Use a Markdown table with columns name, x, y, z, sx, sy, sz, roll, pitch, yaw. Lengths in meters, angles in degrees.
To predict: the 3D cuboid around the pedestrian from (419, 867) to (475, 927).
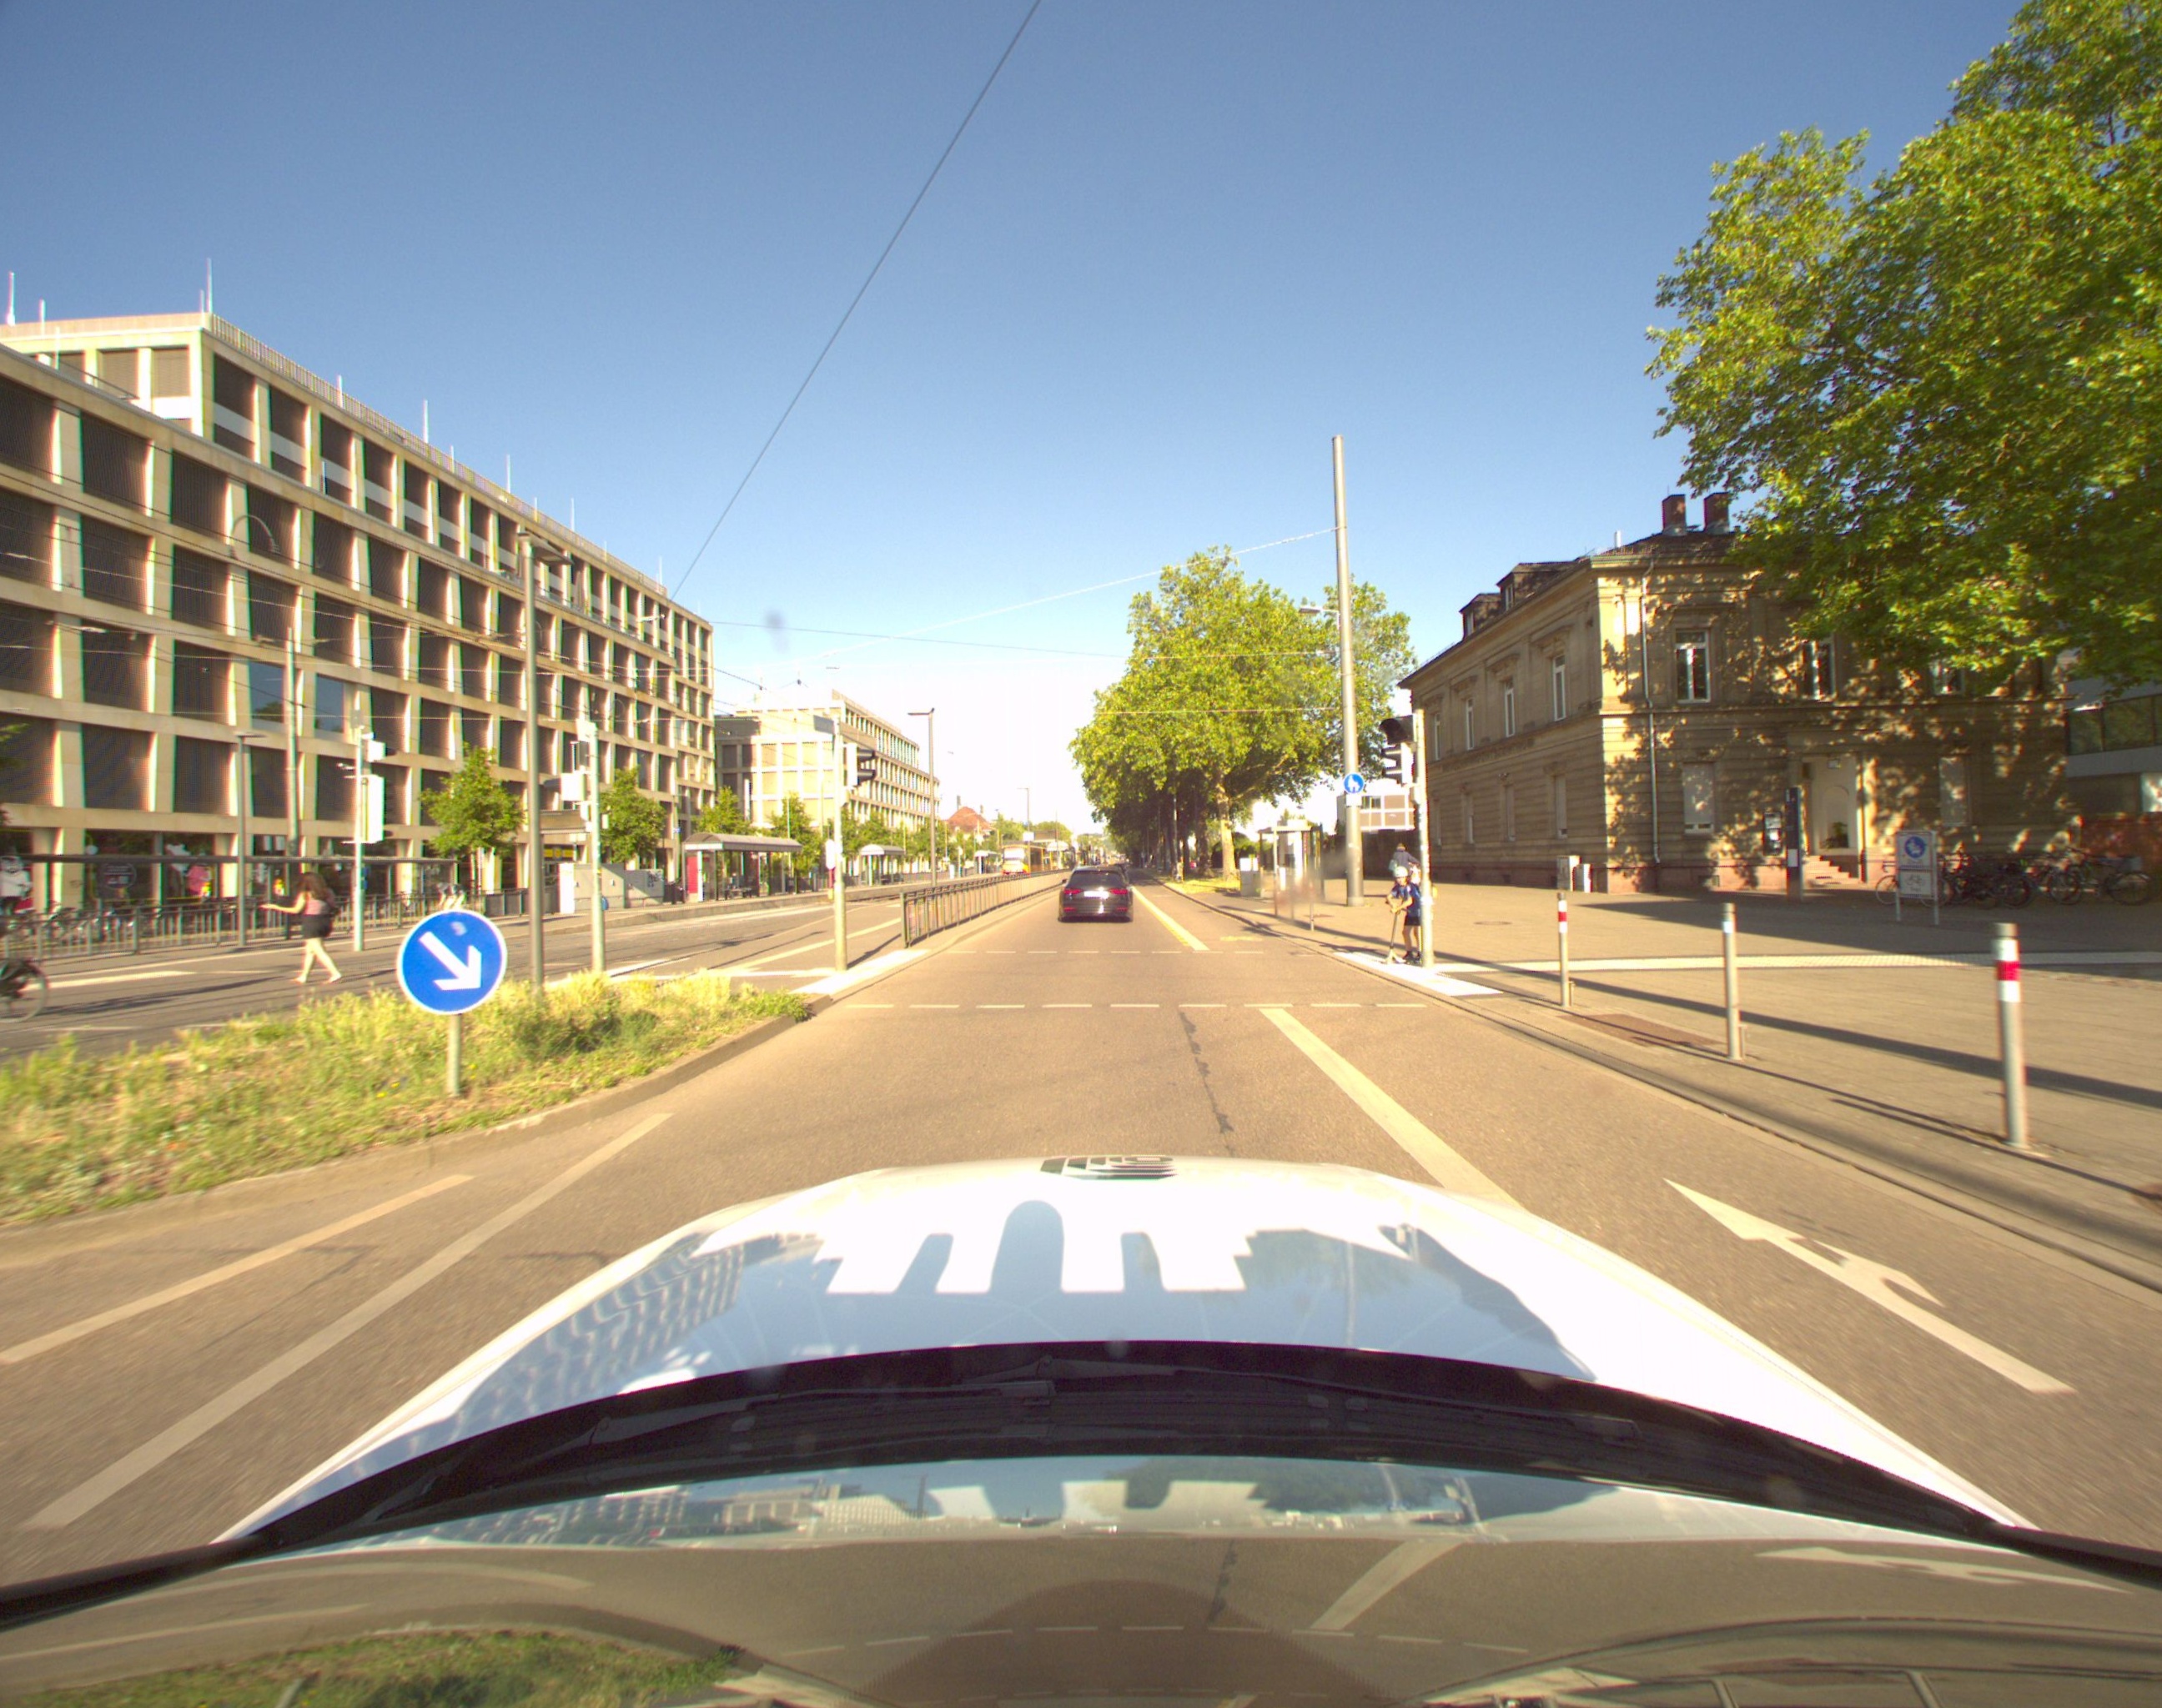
| name | x | y | z | sx | sy | sz | roll | pitch | yaw |
| --- | --- | --- | --- | --- | --- | --- | --- | --- | --- |
| pedestrian | -17.830 | 1.196 | 22.931 | 0.790 | 1.644 | 0.934 | -2 | -1 | 4 |

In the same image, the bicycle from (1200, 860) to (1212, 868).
| name | x | y | z | sx | sy | sz | roll | pitch | yaw |
| --- | --- | --- | --- | --- | --- | --- | --- | --- | --- |
| bicycle | 19.360 | 1.519 | 126.598 | 1.766 | 1.120 | 0.439 | -3 | -1 | 2 |

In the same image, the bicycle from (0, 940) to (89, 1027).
| name | x | y | z | sx | sy | sz | roll | pitch | yaw |
| --- | --- | --- | --- | --- | --- | --- | --- | --- | --- |
| bicycle | -12.637 | 1.492 | 9.215 | 1.883 | 0.911 | 0.512 | -2 | -1 | -11 |

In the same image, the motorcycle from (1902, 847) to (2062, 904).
| name | x | y | z | sx | sy | sz | roll | pitch | yaw |
| --- | --- | --- | --- | --- | --- | --- | --- | --- | --- |
| motorcycle | 19.187 | 0.461 | 17.398 | 2.206 | 1.159 | 0.889 | -1 | -1 | 9 |

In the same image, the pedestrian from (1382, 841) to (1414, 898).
| name | x | y | z | sx | sy | sz | roll | pitch | yaw |
| --- | --- | --- | --- | --- | --- | --- | --- | --- | --- |
| pedestrian | 9.991 | 0.483 | 25.652 | 0.762 | 1.744 | 0.801 | -4 | -1 | 27 |

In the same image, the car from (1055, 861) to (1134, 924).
| name | x | y | z | sx | sy | sz | roll | pitch | yaw |
| --- | --- | --- | --- | --- | --- | --- | --- | --- | --- |
| car | 0.355 | 0.947 | 21.357 | 1.872 | 1.457 | 3.357 | -2 | -1 | 1 |

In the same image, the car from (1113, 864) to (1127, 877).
| name | x | y | z | sx | sy | sz | roll | pitch | yaw |
| --- | --- | --- | --- | --- | --- | --- | --- | --- | --- |
| car | 5.069 | 2.135 | 106.409 | 1.756 | 1.619 | 4.000 | -2 | -1 | 1 |

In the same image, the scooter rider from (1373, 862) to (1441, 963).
| name | x | y | z | sx | sy | sz | roll | pitch | yaw |
| --- | --- | --- | --- | --- | --- | --- | --- | --- | --- |
| scooter rider | 4.647 | 0.819 | 11.642 | 0.698 | 1.397 | 0.600 | -2 | -1 | 2 |

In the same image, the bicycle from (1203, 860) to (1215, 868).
| name | x | y | z | sx | sy | sz | roll | pitch | yaw |
| --- | --- | --- | --- | --- | --- | --- | --- | --- | --- |
| bicycle | 18.858 | 1.464 | 120.327 | 1.681 | 1.120 | 0.439 | -3 | -1 | 2 |

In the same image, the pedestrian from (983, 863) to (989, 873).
| name | x | y | z | sx | sy | sz | roll | pitch | yaw |
| --- | --- | --- | --- | --- | --- | --- | --- | --- | --- |
| pedestrian | -12.502 | 1.869 | 107.560 | 0.611 | 1.260 | 0.726 | -2 | -1 | 7 |

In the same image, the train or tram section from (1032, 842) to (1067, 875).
| name | x | y | z | sx | sy | sz | roll | pitch | yaw |
| --- | --- | --- | --- | --- | --- | --- | --- | --- | --- |
| train or tram section | -3.945 | 0.587 | 103.661 | 3.295 | 3.829 | 11.851 | -1 | -1 | 3 |

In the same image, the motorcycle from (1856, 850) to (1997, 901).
| name | x | y | z | sx | sy | sz | roll | pitch | yaw |
| --- | --- | --- | --- | --- | --- | --- | --- | --- | --- |
| motorcycle | 18.988 | 0.488 | 18.332 | 2.064 | 1.103 | 0.889 | -1 | -1 | 9 |

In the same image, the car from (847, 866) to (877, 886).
| name | x | y | z | sx | sy | sz | roll | pitch | yaw |
| --- | --- | --- | --- | --- | --- | --- | --- | --- | --- |
| car | -22.479 | 2.241 | 83.744 | 1.987 | 2.014 | 4.000 | -2 | -1 | 1 |

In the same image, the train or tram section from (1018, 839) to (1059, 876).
| name | x | y | z | sx | sy | sz | roll | pitch | yaw |
| --- | --- | --- | --- | --- | --- | --- | --- | --- | --- |
| train or tram section | -4.639 | 0.473 | 91.795 | 3.295 | 3.829 | 11.851 | -1 | -1 | 3 |

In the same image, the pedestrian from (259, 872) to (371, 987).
| name | x | y | z | sx | sy | sz | roll | pitch | yaw |
| --- | --- | --- | --- | --- | --- | --- | --- | --- | --- |
| pedestrian | -11.587 | 1.115 | 12.350 | 0.930 | 1.644 | 0.793 | -1 | -1 | -11 |

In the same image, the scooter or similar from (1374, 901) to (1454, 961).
| name | x | y | z | sx | sy | sz | roll | pitch | yaw |
| --- | --- | --- | --- | --- | --- | --- | --- | --- | --- |
| scooter or similar | 4.782 | 1.106 | 11.720 | 1.017 | 0.811 | 0.265 | -2 | -1 | 2 |

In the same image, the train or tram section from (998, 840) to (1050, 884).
| name | x | y | z | sx | sy | sz | roll | pitch | yaw |
| --- | --- | --- | --- | --- | --- | --- | --- | --- | --- |
| train or tram section | -5.289 | 0.808 | 78.670 | 3.295 | 3.829 | 14.228 | -1 | -1 | 3 |

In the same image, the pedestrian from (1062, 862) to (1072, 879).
| name | x | y | z | sx | sy | sz | roll | pitch | yaw |
| --- | --- | --- | --- | --- | --- | --- | --- | --- | --- |
| pedestrian | -1.065 | 1.275 | 62.379 | 0.739 | 1.274 | 0.525 | -2 | -1 | 2 |

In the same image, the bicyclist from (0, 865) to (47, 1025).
| name | x | y | z | sx | sy | sz | roll | pitch | yaw |
| --- | --- | --- | --- | --- | --- | --- | --- | --- | --- |
| bicyclist | -12.544 | 1.037 | 9.274 | 0.666 | 1.808 | 0.645 | -1 | -1 | -11 |

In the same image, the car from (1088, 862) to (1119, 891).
| name | x | y | z | sx | sy | sz | roll | pitch | yaw |
| --- | --- | --- | --- | --- | --- | --- | --- | --- | --- |
| car | 1.331 | 1.337 | 49.490 | 1.756 | 1.619 | 4.000 | -2 | -1 | 1 |

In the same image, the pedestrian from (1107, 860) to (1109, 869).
| name | x | y | z | sx | sy | sz | roll | pitch | yaw |
| --- | --- | --- | --- | --- | --- | --- | --- | --- | --- |
| pedestrian | 5.563 | 2.152 | 167.574 | 0.410 | 1.717 | 0.666 | -1 | -1 | 3 |

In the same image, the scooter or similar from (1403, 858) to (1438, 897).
| name | x | y | z | sx | sy | sz | roll | pitch | yaw |
| --- | --- | --- | --- | --- | --- | --- | --- | --- | --- |
| scooter or similar | 10.717 | 0.734 | 25.730 | 0.717 | 1.156 | 0.759 | -3 | -1 | -4 |

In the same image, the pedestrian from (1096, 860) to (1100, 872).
| name | x | y | z | sx | sy | sz | roll | pitch | yaw |
| --- | --- | --- | --- | --- | --- | --- | --- | --- | --- |
| pedestrian | 2.457 | 1.743 | 118.213 | 0.608 | 1.669 | 0.614 | -2 | -1 | 5 |

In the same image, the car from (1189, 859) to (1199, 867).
| name | x | y | z | sx | sy | sz | roll | pitch | yaw |
| --- | --- | --- | --- | --- | --- | --- | --- | --- | --- |
| car | 23.538 | 1.877 | 169.758 | 1.607 | 1.515 | 3.806 | -2 | -1 | 3 |
